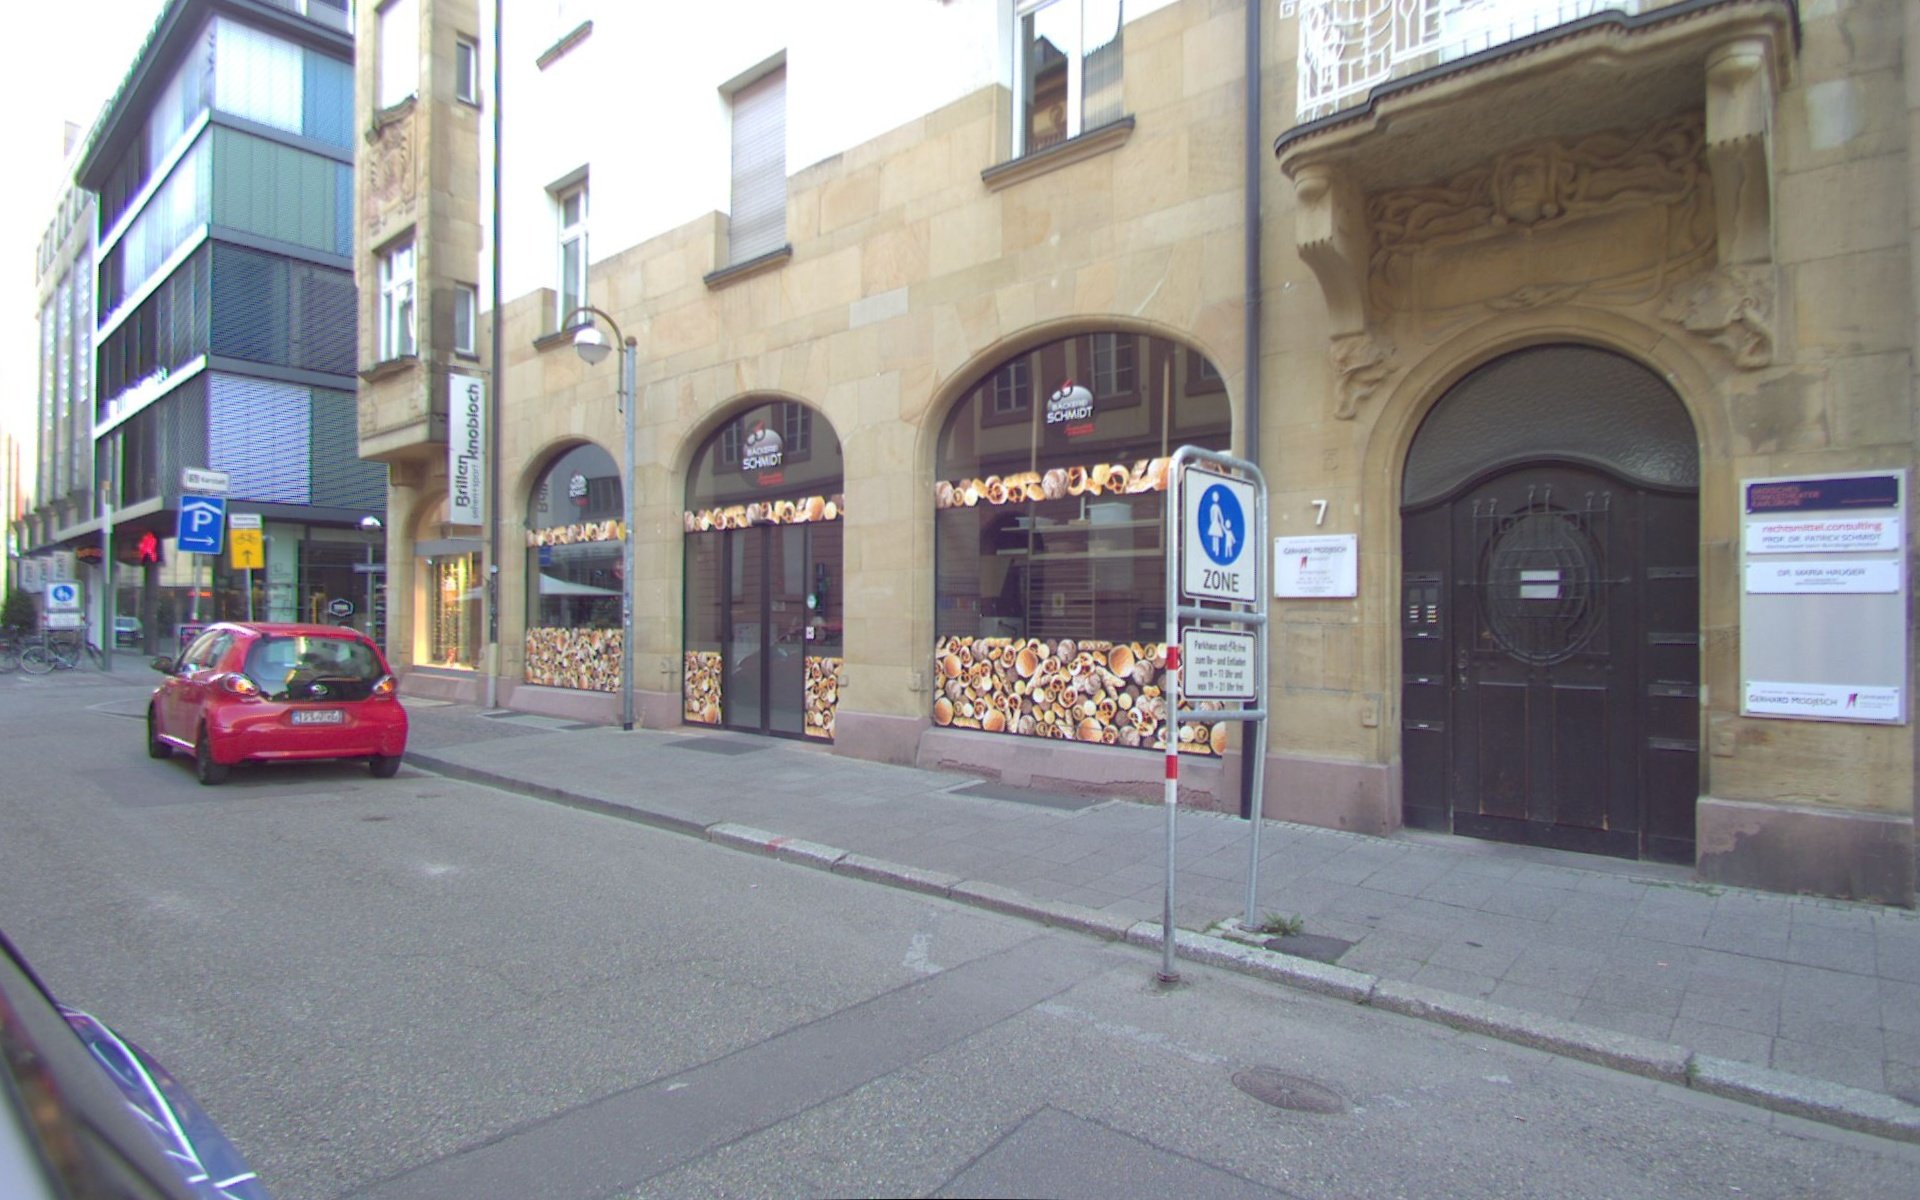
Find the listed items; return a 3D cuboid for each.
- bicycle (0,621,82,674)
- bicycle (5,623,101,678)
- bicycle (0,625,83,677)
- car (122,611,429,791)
[{"bbox_3d":[-24.834,1.262,27.102,0.538,1.279,1.878,-1,2,42],"label":"bicycle"},{"bbox_3d":[-21.717,1.197,24.249,0.509,1.213,1.648,-1,0,40],"label":"bicycle"},{"bbox_3d":[-23.011,1.267,25.060,0.517,1.190,1.878,-3,-1,40],"label":"bicycle"},{"bbox_3d":[-7.095,0.920,10.335,3.931,1.481,1.640,0,-5,43],"label":"car"}]
